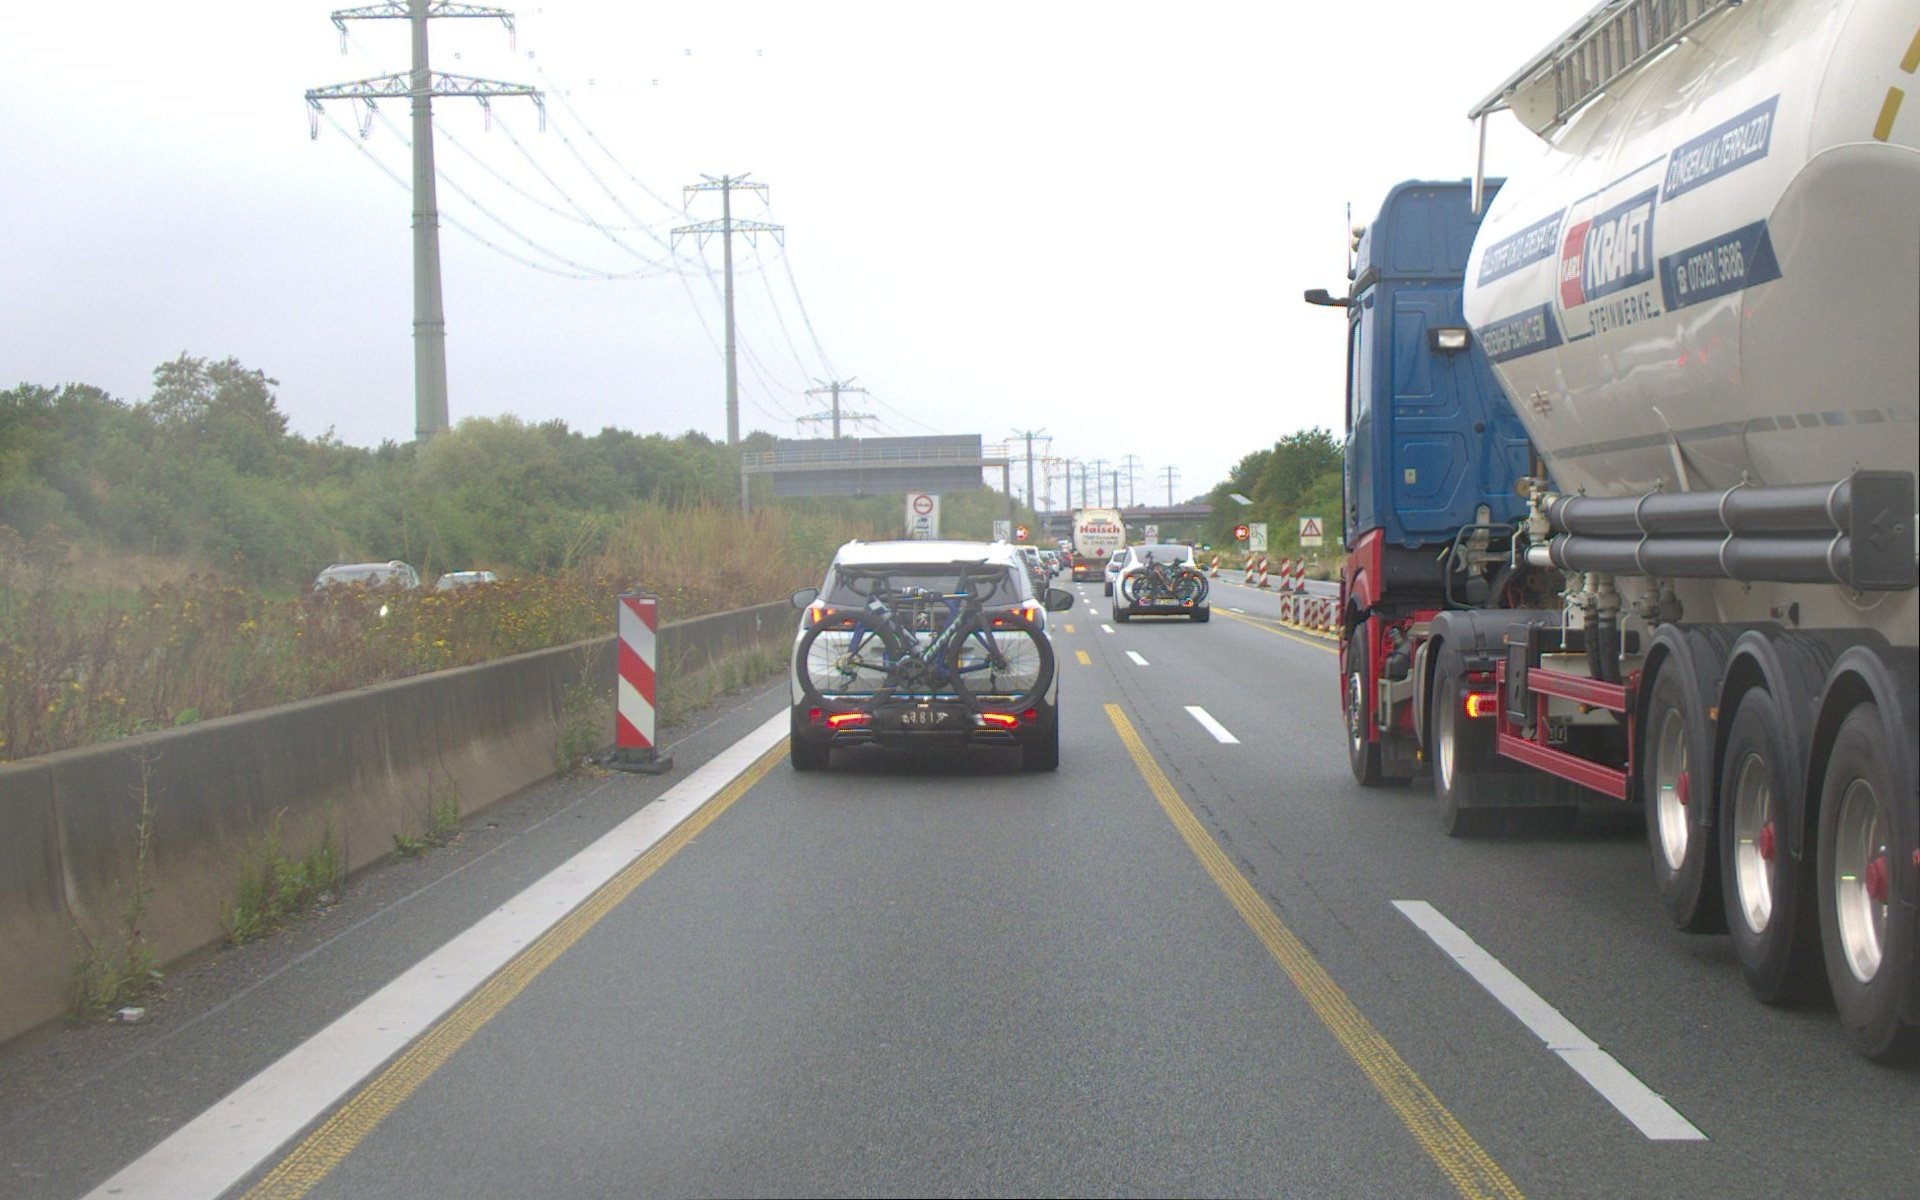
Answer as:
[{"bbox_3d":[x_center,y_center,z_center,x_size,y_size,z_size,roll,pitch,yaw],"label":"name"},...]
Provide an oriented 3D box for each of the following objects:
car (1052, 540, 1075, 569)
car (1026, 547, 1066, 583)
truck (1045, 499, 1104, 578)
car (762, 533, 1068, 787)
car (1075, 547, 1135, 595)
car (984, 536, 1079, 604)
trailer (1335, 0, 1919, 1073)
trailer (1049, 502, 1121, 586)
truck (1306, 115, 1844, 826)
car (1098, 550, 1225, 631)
[{"bbox_3d":[7.381,-3.260,244.865,1.654,2.007,4.000,0,1,2],"label":"car"},{"bbox_3d":[4.855,-1.969,193.697,1.993,2.007,4.000,1,0,-2],"label":"car"},{"bbox_3d":[5.724,-3.051,172.351,2.644,3.877,4.030,1,0,-2],"label":"truck"},{"bbox_3d":[-0.280,0.343,24.015,1.928,1.605,4.595,0,1,0],"label":"car"},{"bbox_3d":[4.718,-0.961,112.266,1.870,1.529,4.197,0,1,1],"label":"car"},{"bbox_3d":[1.665,-0.723,81.087,1.993,1.578,4.001,0,1,-2],"label":"car"},{"bbox_3d":[3.694,-0.690,15.168,2.519,3.821,12.352,1,0,-1],"label":"trailer"},{"bbox_3d":[5.976,-2.632,165.710,2.637,3.880,10.544,1,0,-2],"label":"trailer"},{"bbox_3d":[3.628,-0.731,21.164,2.547,3.933,4.000,1,0,0],"label":"truck"},{"bbox_3d":[4.137,-0.230,71.392,2.045,1.590,5.802,1,1,-2],"label":"car"}]
